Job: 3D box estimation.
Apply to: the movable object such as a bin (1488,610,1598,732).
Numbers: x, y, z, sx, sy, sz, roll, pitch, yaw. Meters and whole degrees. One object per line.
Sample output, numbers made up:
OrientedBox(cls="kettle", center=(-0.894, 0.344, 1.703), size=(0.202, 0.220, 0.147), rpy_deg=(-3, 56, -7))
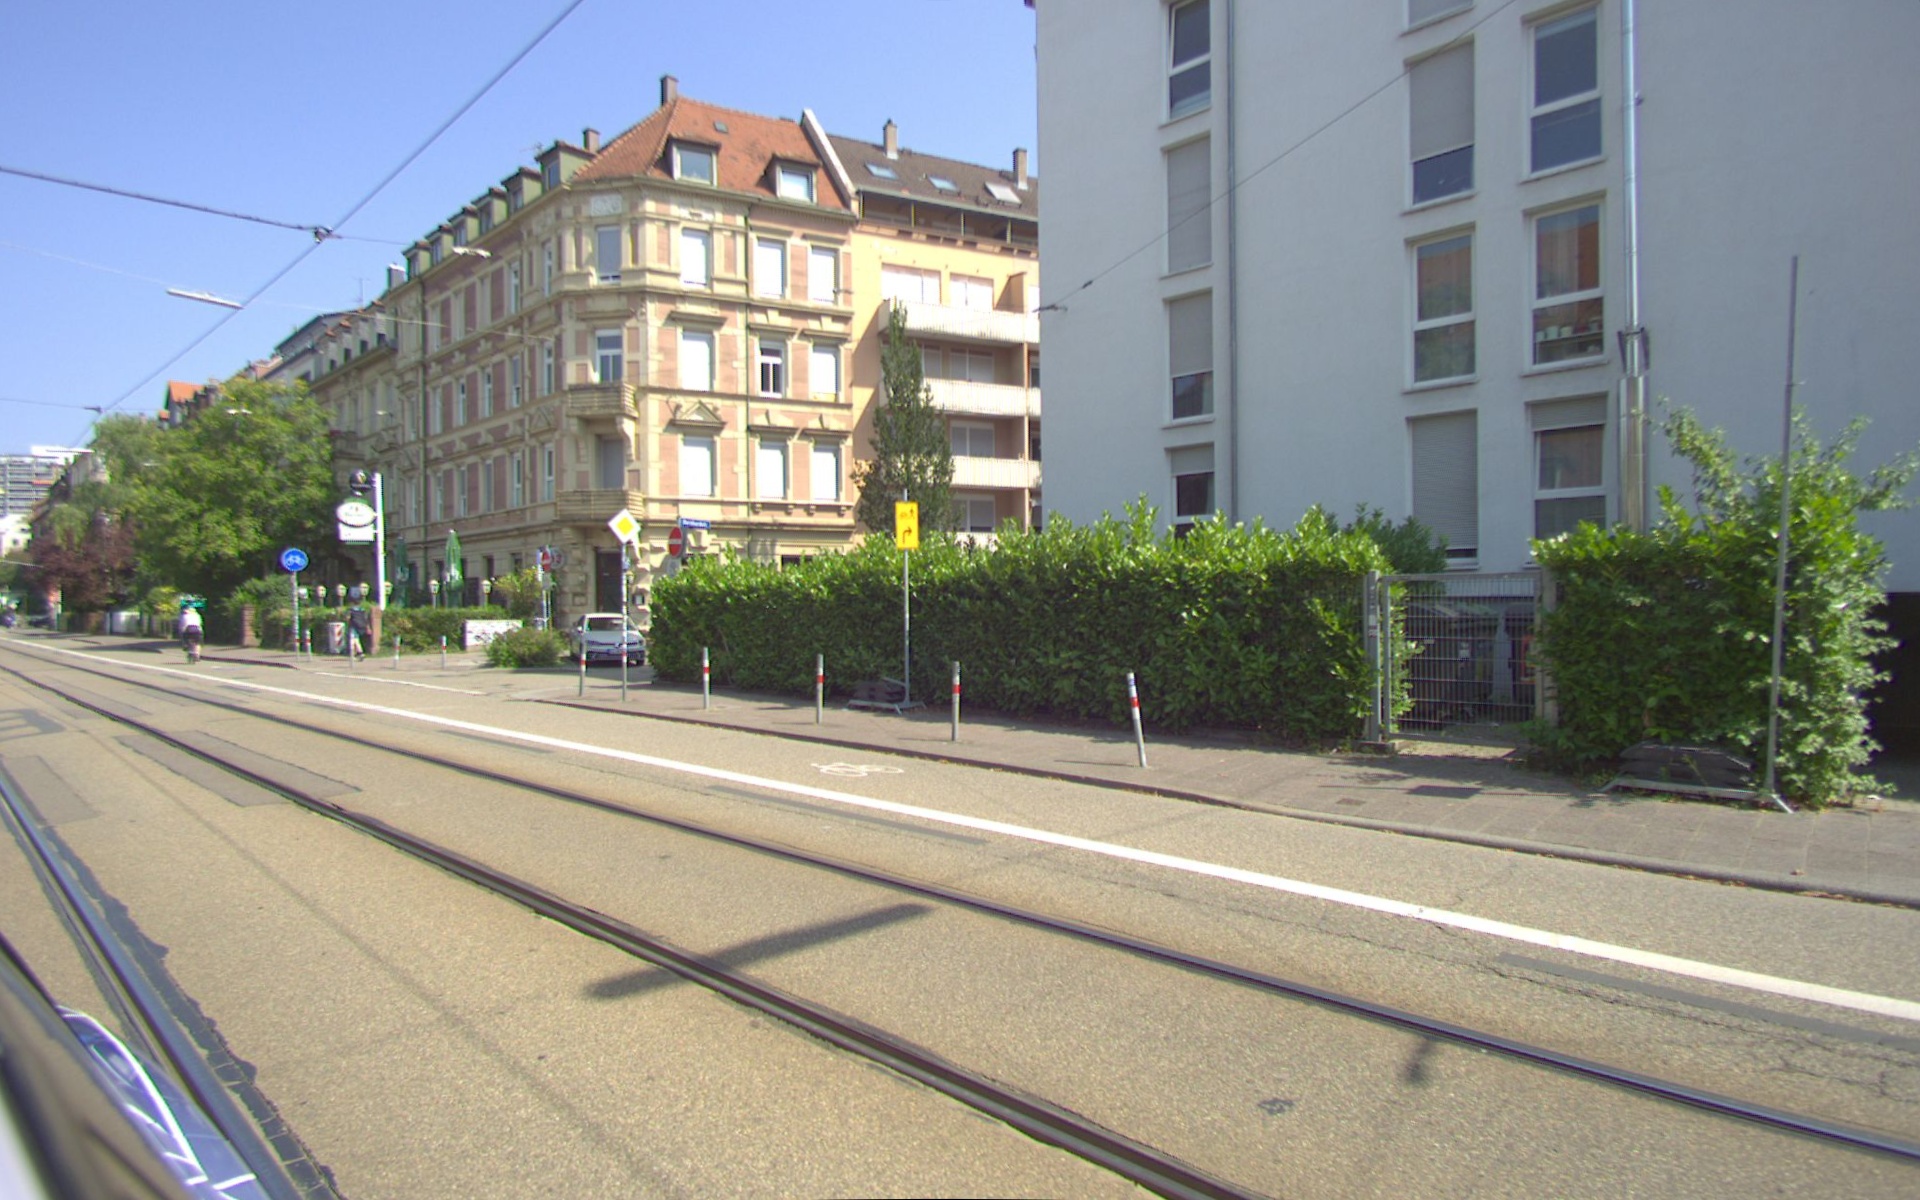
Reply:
OrientedBox(cls="movable object such as a bin", center=(6.809, 0.810, 11.844), size=(1.035, 1.370, 0.383), rpy_deg=(-1, -1, 42))

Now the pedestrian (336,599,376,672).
OrientedBox(cls="pedestrian", center=(-17.274, 1.002, 28.944), size=(0.973, 2.029, 0.649), rpy_deg=(-1, -1, 37))

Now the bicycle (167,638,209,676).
OrientedBox(cls="bicycle", center=(-23.290, 1.705, 30.513), size=(1.914, 1.085, 0.634), rpy_deg=(-1, -1, 41))

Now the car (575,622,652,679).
OrientedBox(cls="car", center=(-10.066, 1.402, 29.328), size=(1.965, 1.500, 4.158), rpy_deg=(0, -1, -20))

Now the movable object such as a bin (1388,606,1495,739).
OrientedBox(cls="movable object such as a bin", center=(5.534, 0.791, 11.608), size=(0.801, 1.434, 1.218), rpy_deg=(-1, -1, 41))

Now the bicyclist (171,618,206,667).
OrientedBox(cls="bicyclist", center=(-23.207, 1.261, 30.439), size=(0.974, 1.439, 0.648), rpy_deg=(-1, -1, 41))
